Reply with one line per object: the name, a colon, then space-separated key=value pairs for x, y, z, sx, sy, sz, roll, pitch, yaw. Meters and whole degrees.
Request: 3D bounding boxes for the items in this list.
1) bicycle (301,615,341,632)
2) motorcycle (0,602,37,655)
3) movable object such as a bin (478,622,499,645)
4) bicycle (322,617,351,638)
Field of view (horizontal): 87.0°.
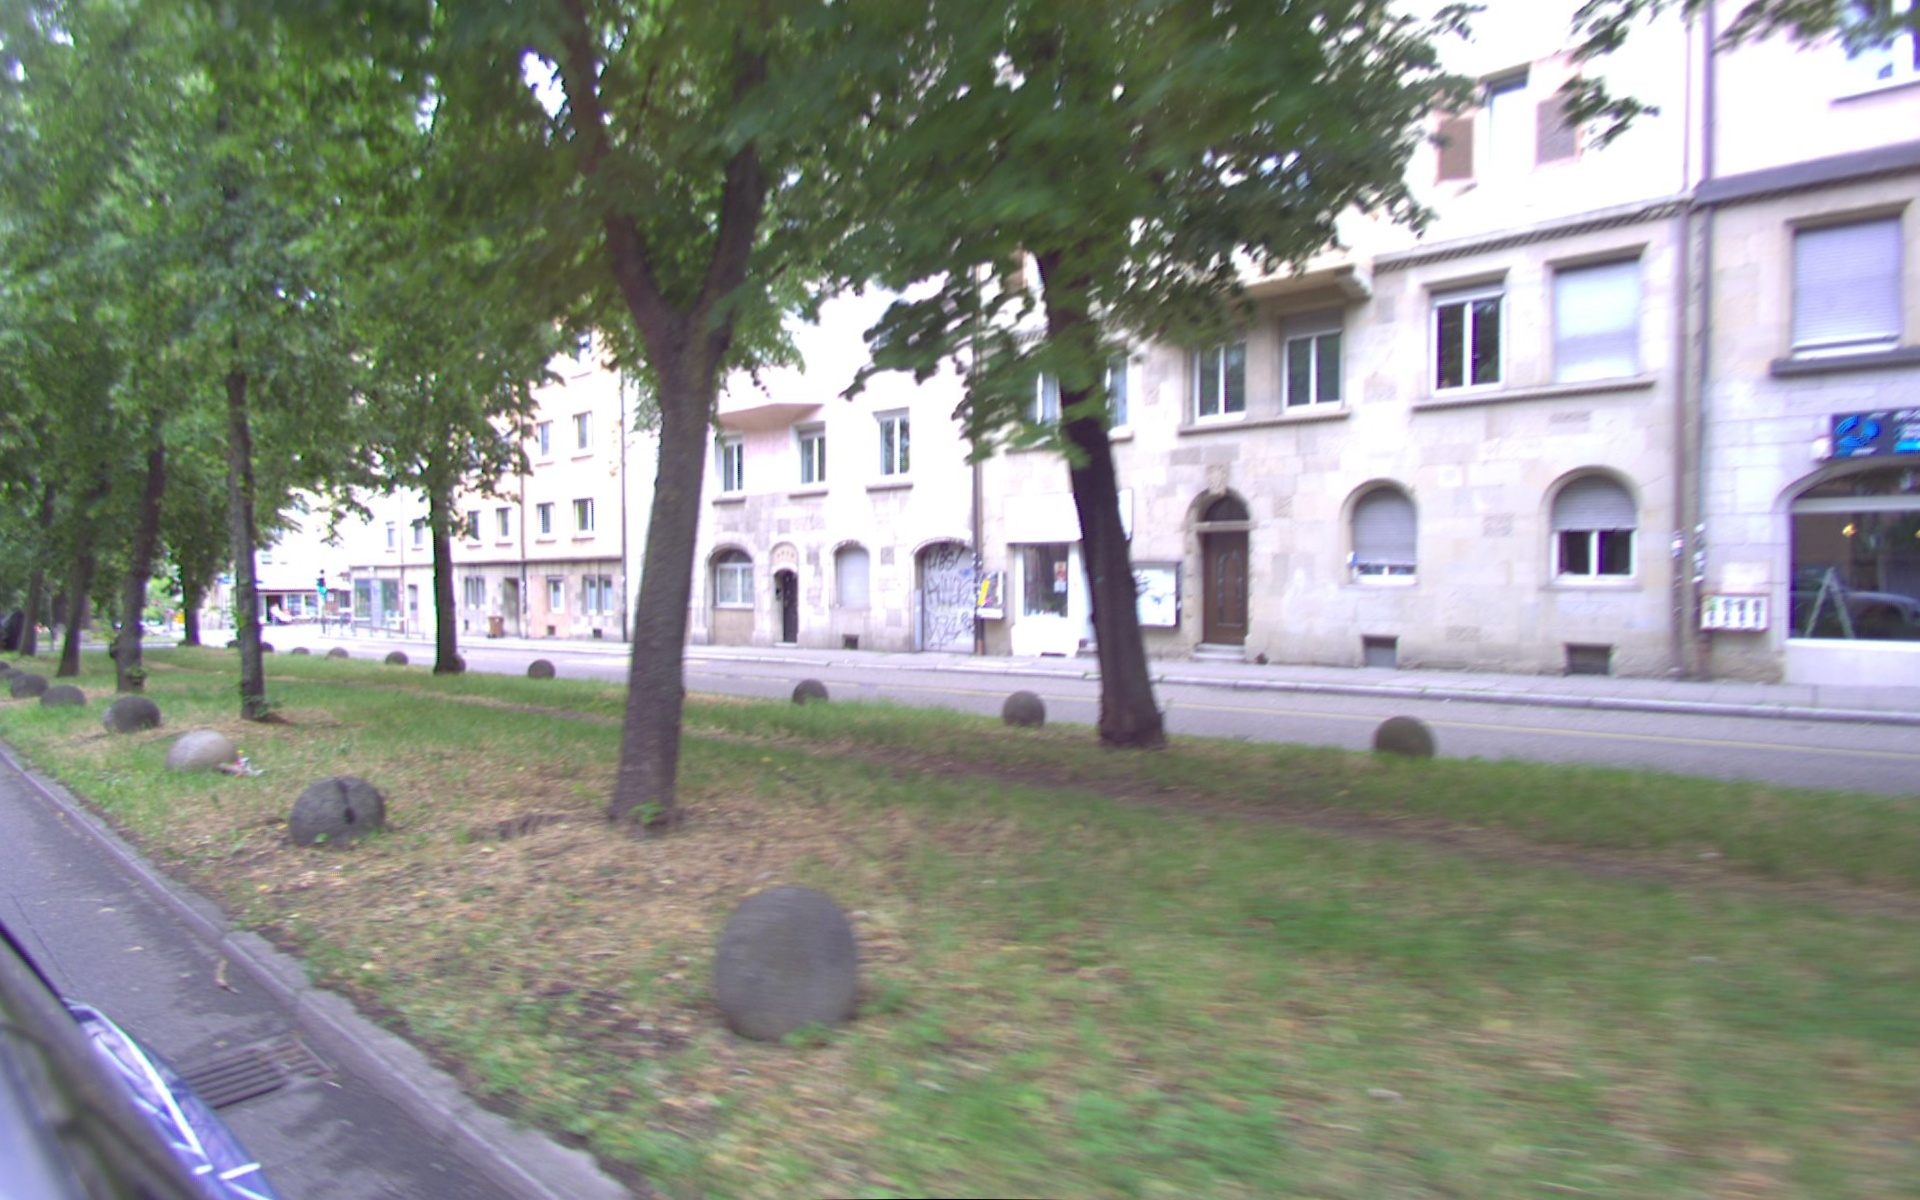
bicycle: x=-45.417 y=1.653 z=71.984 sx=2.310 sy=1.108 sz=0.777 roll=-2 pitch=0 yaw=-28
motorcycle: x=-29.872 y=0.934 z=32.003 sx=2.624 sy=1.542 sz=0.814 roll=-6 pitch=-6 yaw=45
movable object such as a bin: x=-19.126 y=1.355 z=41.058 sx=0.779 sy=0.934 sz=0.506 roll=-2 pitch=0 yaw=44
bicycle: x=-38.258 y=1.697 z=62.086 sx=2.051 sy=1.158 sz=0.676 roll=-3 pitch=0 yaw=32
